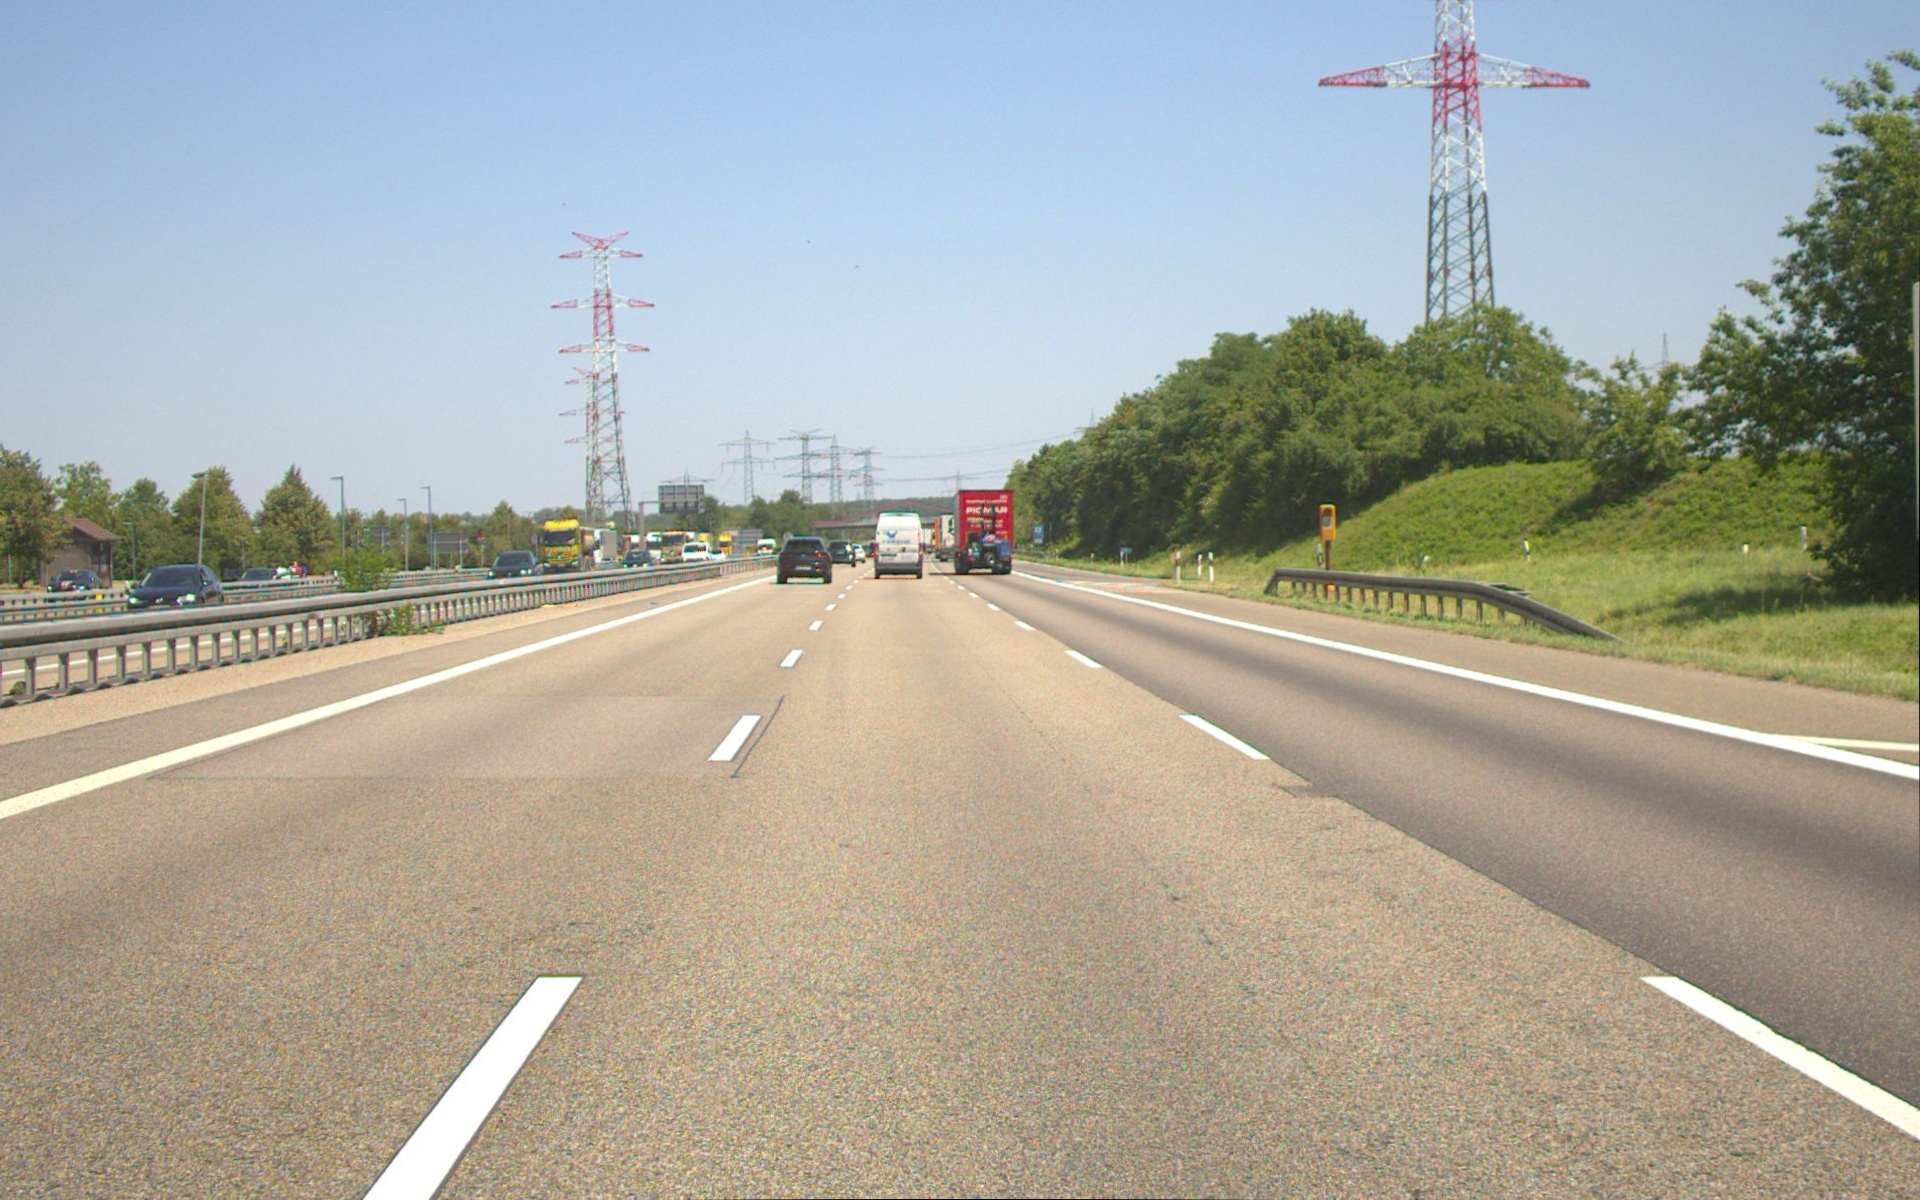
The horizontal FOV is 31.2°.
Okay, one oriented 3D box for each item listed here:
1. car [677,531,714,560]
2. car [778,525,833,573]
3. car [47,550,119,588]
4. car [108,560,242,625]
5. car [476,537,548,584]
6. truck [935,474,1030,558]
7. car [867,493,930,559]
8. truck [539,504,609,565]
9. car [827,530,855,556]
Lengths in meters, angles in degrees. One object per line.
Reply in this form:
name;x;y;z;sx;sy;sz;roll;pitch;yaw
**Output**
car;-17.195;-3.549;223.759;2.052;1.836;5.943;-1;1;-2
car;-5.727;-1.913;127.843;1.993;1.744;4.001;0;1;-2
car;-39.559;-1.421;155.114;2.052;1.546;4.891;-3;1;-2
car;-19.248;-0.200;84.518;2.227;1.375;4.891;-3;1;-2
car;-16.281;-1.468;125.095;2.052;1.546;4.891;-3;1;-2
truck;0.996;-4.113;168.780;4.331;3.928;16.079;0;1;-1
car;-2.621;-3.184;146.841;2.621;2.749;6.097;0;1;-1
truck;-25.171;-4.292;224.930;3.171;3.797;13.531;-1;1;-1
car;-7.650;-3.682;221.900;1.747;1.628;4.004;0;1;-1
